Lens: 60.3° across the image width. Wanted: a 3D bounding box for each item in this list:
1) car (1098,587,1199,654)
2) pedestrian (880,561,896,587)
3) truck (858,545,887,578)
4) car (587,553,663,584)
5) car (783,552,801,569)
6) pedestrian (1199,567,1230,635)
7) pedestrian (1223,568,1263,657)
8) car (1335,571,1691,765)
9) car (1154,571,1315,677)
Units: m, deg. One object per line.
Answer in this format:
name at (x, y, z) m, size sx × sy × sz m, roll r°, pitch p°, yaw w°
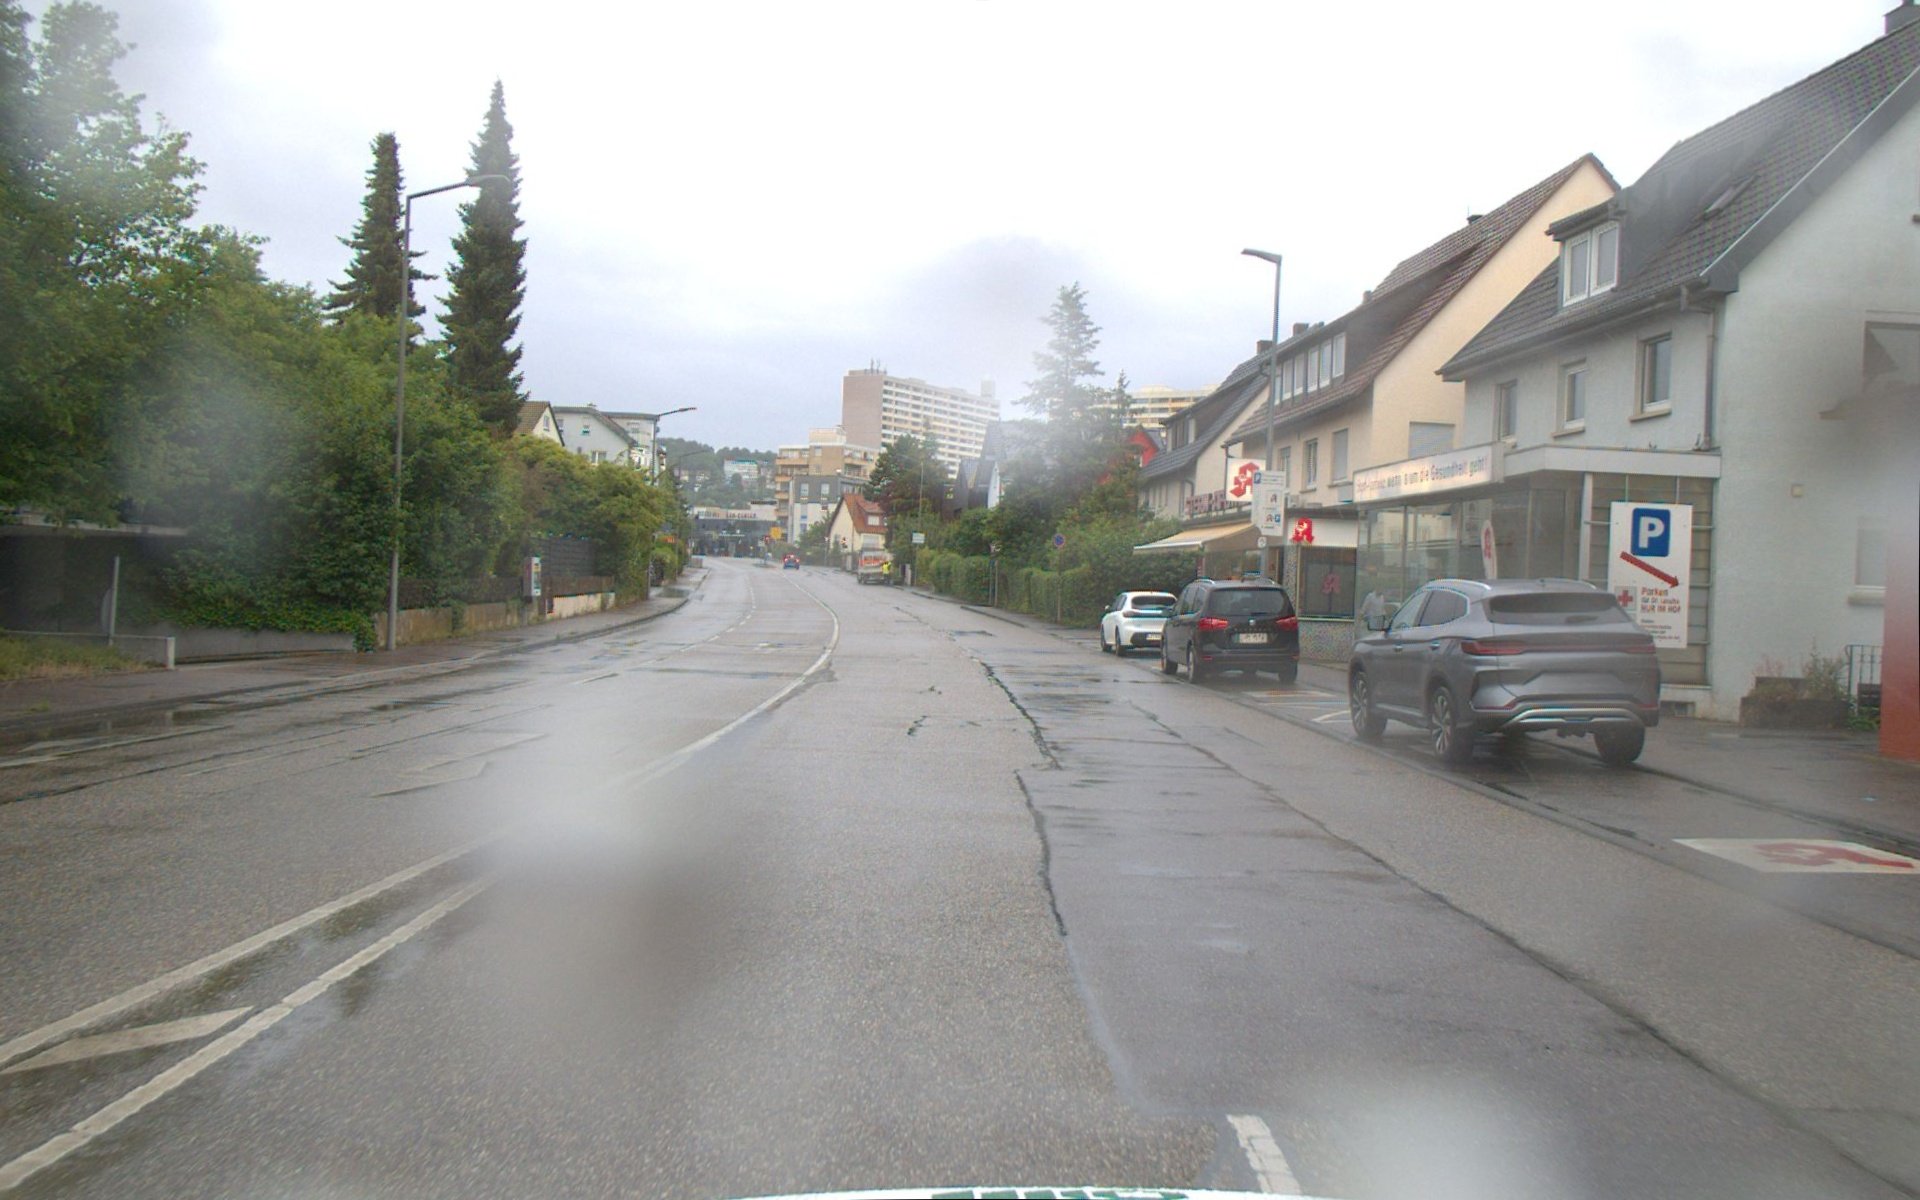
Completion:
car at (4.416, 0.451, 39.384) m, size 1.779 × 1.473 × 4.201 m, roll 0°, pitch 1°, yaw -2°
pedestrian at (-5.026, -1.820, 115.657) m, size 0.812 × 1.828 × 0.794 m, roll 1°, pitch 1°, yaw -26°
truck at (-6.325, -2.786, 119.494) m, size 1.954 × 2.343 × 3.998 m, roll 2°, pitch 1°, yaw -4°
car at (-19.546, -1.843, 96.483) m, size 3.902 × 1.715 × 1.810 m, roll 2°, pitch 1°, yaw 10°
car at (-17.689, -4.126, 174.220) m, size 1.759 × 1.699 × 3.995 m, roll 1°, pitch 0°, yaw -6°
pedestrian at (6.539, 0.024, 42.418) m, size 0.546 × 1.707 × 0.509 m, roll 1°, pitch 0°, yaw -40°
pedestrian at (6.285, 0.272, 36.677) m, size 0.611 × 1.924 × 0.645 m, roll 2°, pitch 0°, yaw 33°
car at (5.359, 0.590, 16.791) m, size 1.837 × 1.671 × 4.790 m, roll 0°, pitch 0°, yaw -2°
car at (4.775, 0.402, 29.505) m, size 1.994 × 1.725 × 4.962 m, roll 0°, pitch 0°, yaw -1°
